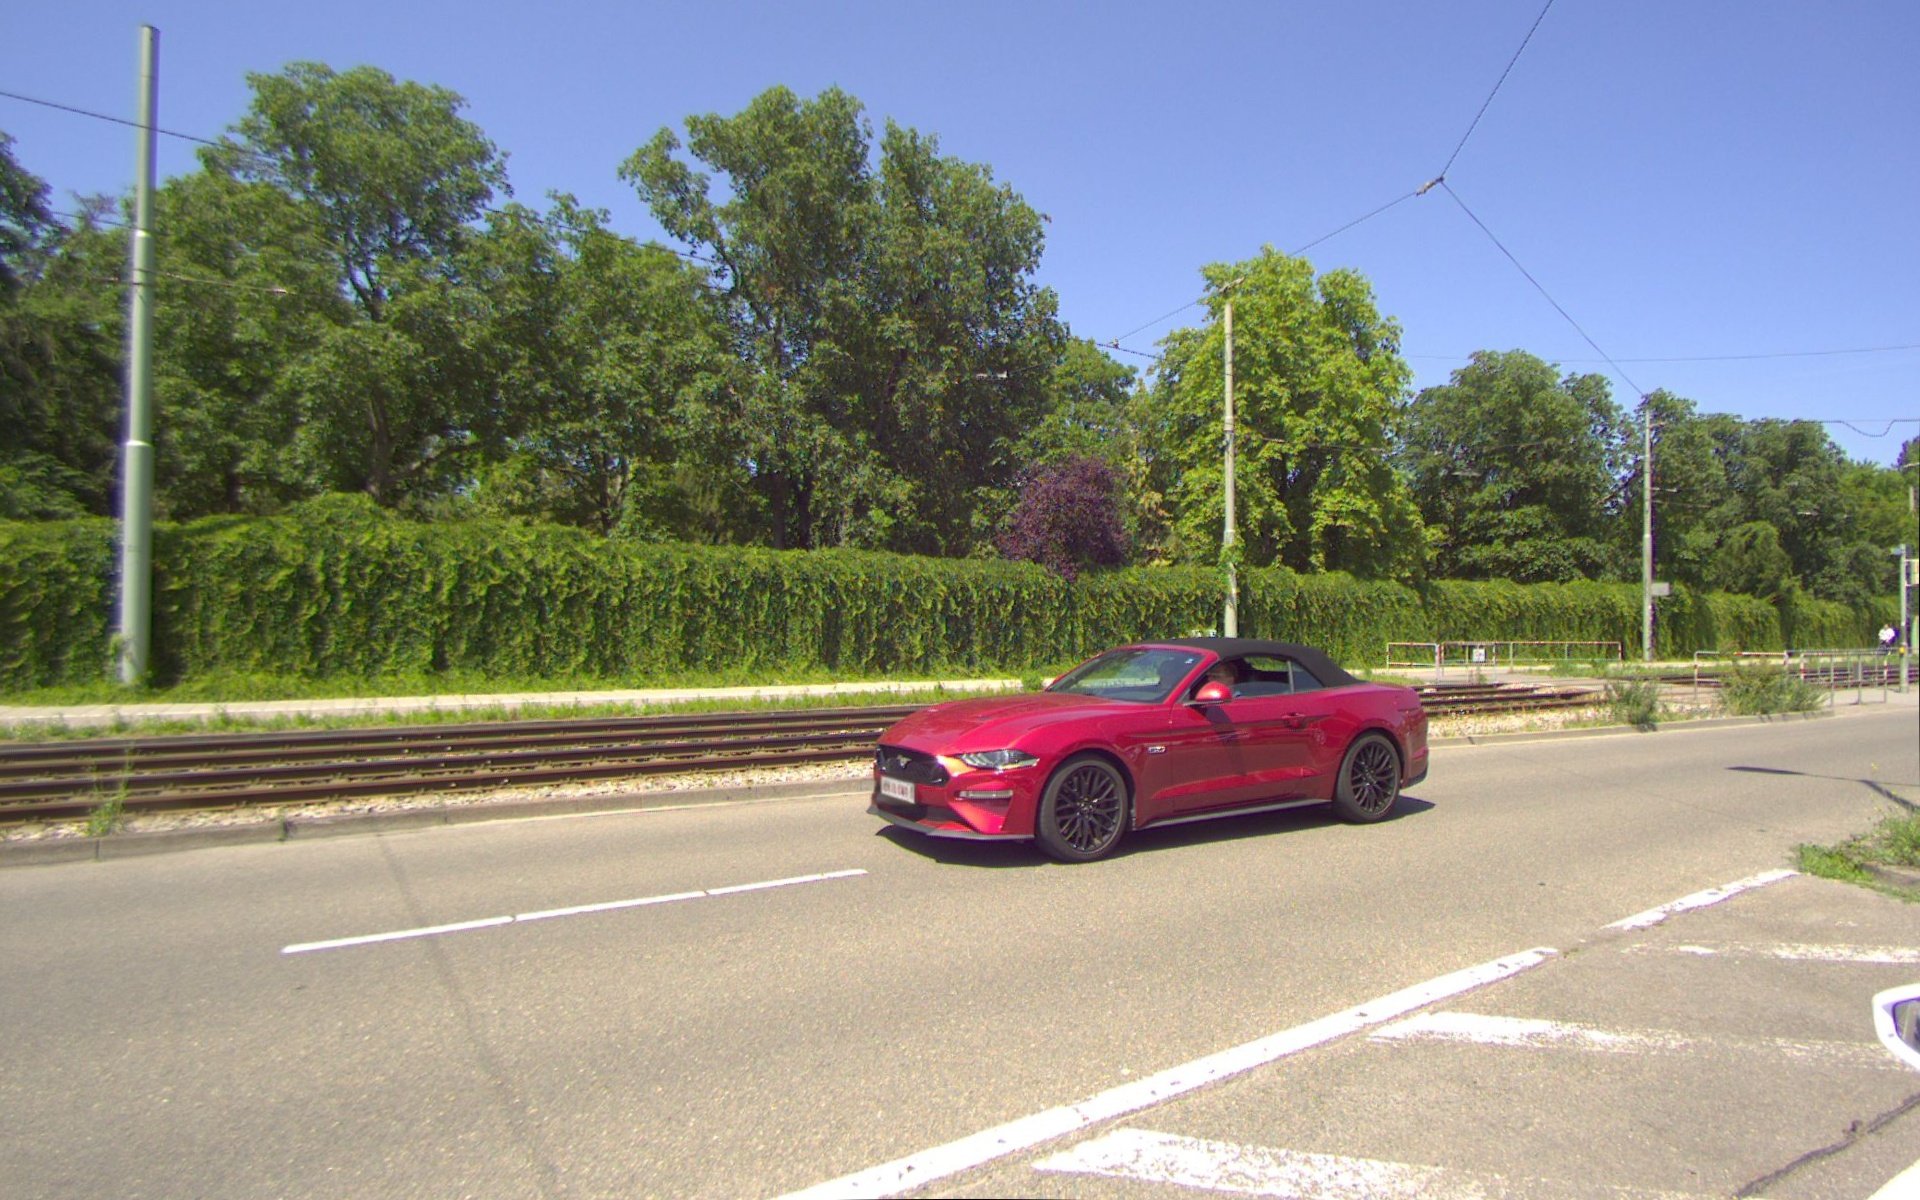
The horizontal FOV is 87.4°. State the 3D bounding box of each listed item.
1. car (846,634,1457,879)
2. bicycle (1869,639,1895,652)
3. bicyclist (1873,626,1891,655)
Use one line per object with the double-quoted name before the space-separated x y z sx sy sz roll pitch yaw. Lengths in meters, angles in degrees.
"car" 1.573 0.968 7.774 4.485 1.376 1.975 1 -1 -30
"bicycle" 48.094 2.365 52.393 1.700 0.656 0.558 1 -1 -31
"bicyclist" 48.111 2.130 52.406 0.555 1.497 0.555 1 -1 -30
